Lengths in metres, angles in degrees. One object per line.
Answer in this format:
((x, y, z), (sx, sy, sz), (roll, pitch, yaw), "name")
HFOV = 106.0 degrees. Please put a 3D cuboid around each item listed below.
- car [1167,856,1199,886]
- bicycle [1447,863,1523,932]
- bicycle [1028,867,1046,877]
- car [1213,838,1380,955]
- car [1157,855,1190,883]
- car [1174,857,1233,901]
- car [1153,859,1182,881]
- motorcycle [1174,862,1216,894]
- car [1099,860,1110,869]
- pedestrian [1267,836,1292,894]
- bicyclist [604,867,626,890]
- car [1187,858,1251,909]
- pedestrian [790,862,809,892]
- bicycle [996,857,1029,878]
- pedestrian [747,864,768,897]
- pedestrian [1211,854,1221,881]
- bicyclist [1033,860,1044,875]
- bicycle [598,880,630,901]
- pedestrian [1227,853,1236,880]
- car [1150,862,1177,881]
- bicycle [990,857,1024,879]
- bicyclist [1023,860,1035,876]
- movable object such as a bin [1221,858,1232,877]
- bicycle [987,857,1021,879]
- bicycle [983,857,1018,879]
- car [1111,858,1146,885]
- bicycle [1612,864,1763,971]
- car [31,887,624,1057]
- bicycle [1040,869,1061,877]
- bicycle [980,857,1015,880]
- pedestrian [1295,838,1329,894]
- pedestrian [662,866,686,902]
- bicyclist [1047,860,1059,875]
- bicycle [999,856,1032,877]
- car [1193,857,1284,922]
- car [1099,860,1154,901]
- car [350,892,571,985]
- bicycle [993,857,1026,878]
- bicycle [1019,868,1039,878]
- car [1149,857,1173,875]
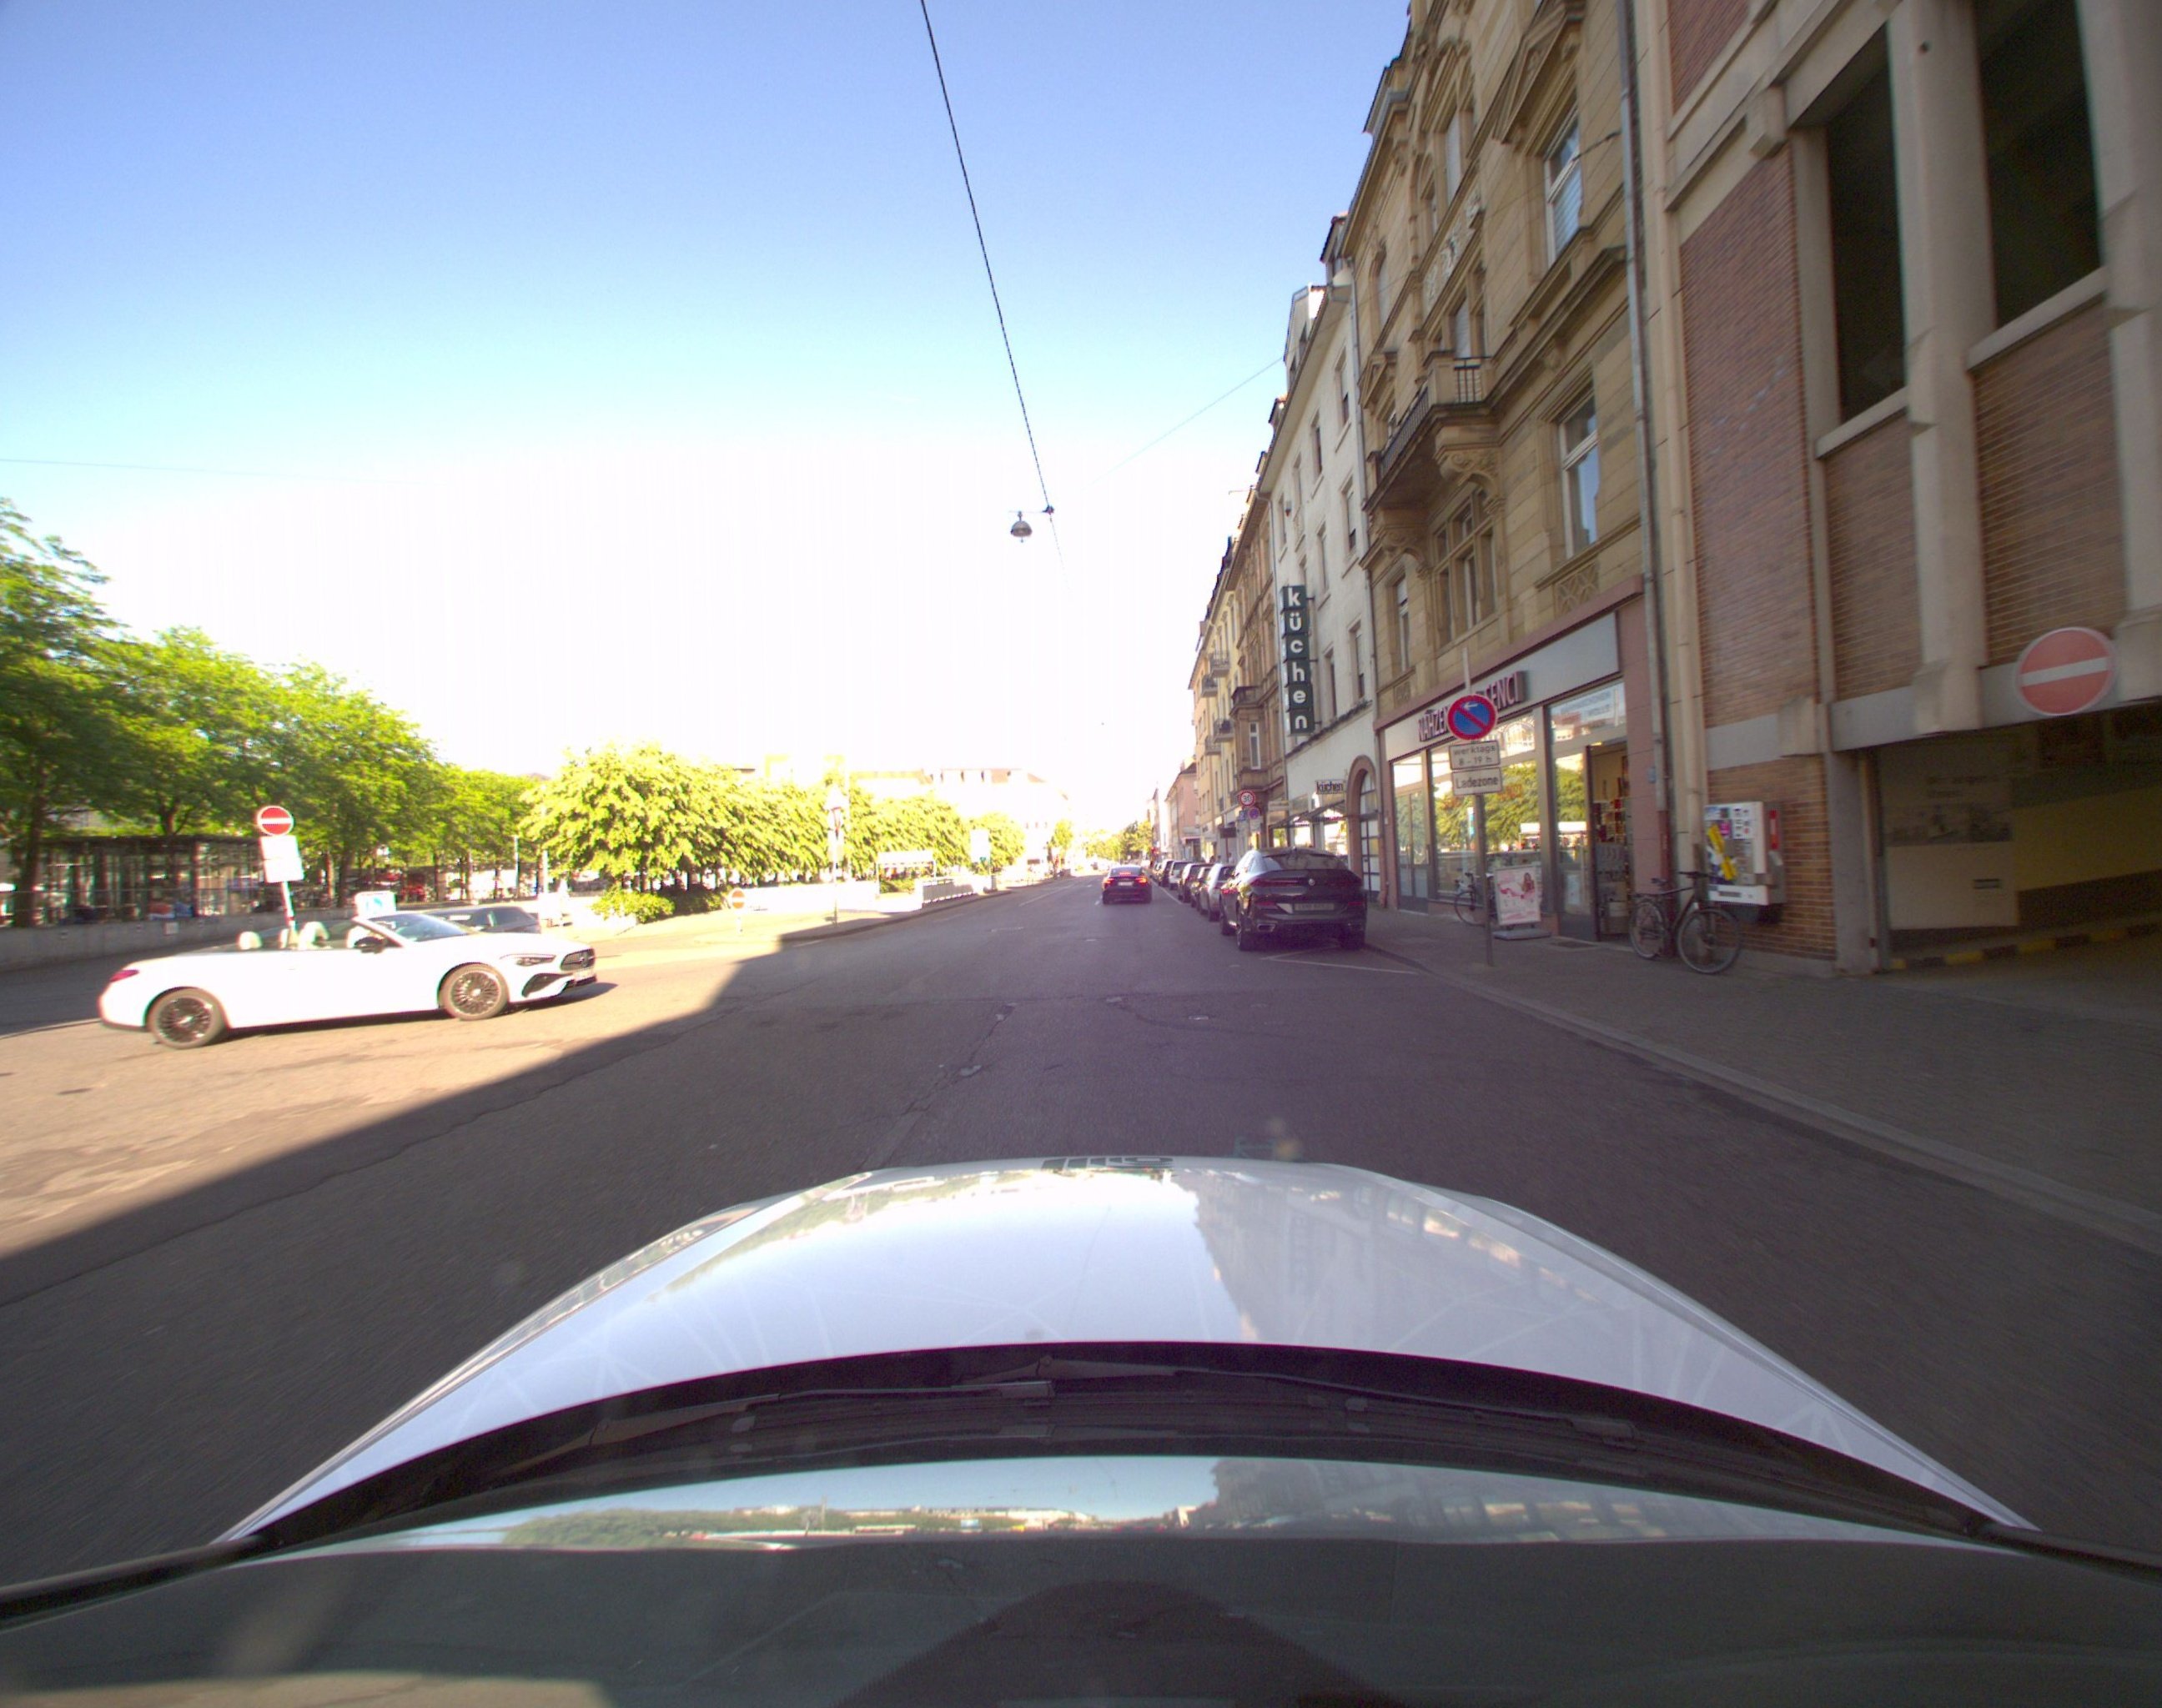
((5.582, 0.931, 44.829), (1.606, 1.546, 2.858), (-1, 0, 4), "car")
((6.979, 0.711, 14.151), (0.356, 1.085, 1.943), (-5, 0, 3), "bicycle")
((-4.939, 2.064, 91.532), (2.005, 1.022, 0.762), (-2, -1, -1), "bicycle")
((3.621, 0.640, 14.642), (1.965, 1.725, 4.828), (-1, 0, 3), "car")
((5.711, 0.957, 50.660), (1.710, 1.636, 4.085), (-1, -1, 2), "car")
((4.712, 0.923, 31.816), (1.831, 1.546, 4.231), (-1, 0, 3), "car")
((6.008, 1.148, 56.933), (1.784, 1.460, 4.087), (-1, -1, 3), "car")
((5.052, 1.049, 36.121), (2.056, 1.328, 0.648), (-2, -1, -43), "motorcycle")
((4.714, 2.177, 166.117), (1.984, 1.772, 4.005), (-1, 0, 4), "car")
((6.192, 0.352, 25.450), (0.617, 1.766, 0.519), (-3, -1, 6), "pedestrian")
((-36.305, 1.916, 63.407), (0.962, 1.700, 1.210), (-2, -1, -2), "bicyclist")
((4.362, 0.879, 26.148), (1.601, 1.449, 3.834), (-1, 0, 3), "car")
((-19.894, 1.620, 57.476), (0.725, 2.108, 0.973), (-2, -1, 25), "pedestrian")
((-6.924, 1.332, 82.100), (3.100, 2.013, 0.912), (-2, -1, 12), "bicycle")
((-21.018, 1.698, 52.892), (0.725, 2.108, 0.973), (-2, -1, 25), "pedestrian")
((8.184, 0.819, 49.219), (0.466, 1.635, 0.516), (-2, -1, 19), "pedestrian")
((-4.810, 1.534, 91.543), (1.142, 1.686, 0.819), (-2, -1, 0), "bicyclist")
((-36.284, 2.834, 63.278), (0.961, 1.503, 2.686), (-2, 0, -2), "bicycle")
((9.175, 0.770, 49.671), (0.468, 1.635, 0.514), (-2, -1, 8), "pedestrian")
((6.406, 1.362, 63.585), (1.785, 1.460, 3.870), (-1, -1, 2), "car")
((-7.265, 1.366, 79.991), (3.100, 2.013, 0.912), (-2, -1, 12), "bicycle")
((-5.643, 1.552, 88.766), (1.142, 1.686, 0.919), (-2, -1, 0), "bicyclist")
((8.419, 0.765, 47.177), (0.453, 1.052, 0.500), (-4, -1, 2), "movable object such as a bin")
((-7.496, 1.350, 78.955), (3.100, 2.013, 0.912), (-2, -1, 12), "bicycle")
((-7.696, 1.362, 77.971), (3.100, 2.013, 0.912), (-2, -1, 12), "bicycle")
((2.904, 1.004, 48.905), (1.925, 1.487, 4.277), (-2, 0, 5), "car")
((6.752, 0.655, 9.183), (0.356, 1.044, 1.792), (-5, 0, 3), "bicycle")
((-8.953, 1.331, 10.252), (5.103, 1.423, 1.992), (-4, -1, -11), "car")
((-3.483, 2.187, 93.189), (2.232, 0.883, 0.925), (-2, -1, 6), "bicycle")
((-7.868, 1.373, 77.021), (3.100, 2.013, 0.912), (-2, -1, 12), "bicycle")
((7.185, 0.359, 25.346), (0.797, 1.675, 0.590), (-4, -1, 5), "pedestrian")
((-24.223, 1.767, 48.508), (0.725, 2.108, 0.973), (-2, -1, 25), "pedestrian")
((-3.202, 1.545, 93.163), (1.140, 1.686, 0.916), (-2, -1, 6), "bicyclist")
((-6.704, 1.307, 83.134), (3.100, 2.013, 0.912), (-2, -1, 12), "bicycle")
((4.066, 0.859, 21.611), (1.831, 1.487, 4.188), (-1, 0, 3), "car")
((1.769, 1.021, 32.362), (1.987, 1.480, 4.497), (-1, -1, 2), "car")
((-13.384, 1.734, 17.987), (1.746, 1.422, 4.528), (-3, 1, -7), "car")
((-7.099, 1.361, 81.068), (3.100, 2.013, 0.912), (-2, -1, 12), "bicycle")
((-5.666, 2.028, 88.754), (2.005, 1.022, 0.887), (-2, -1, -1), "bicycle")
((6.646, 1.034, 67.893), (1.785, 1.460, 3.871), (-1, -1, 3), "car")
